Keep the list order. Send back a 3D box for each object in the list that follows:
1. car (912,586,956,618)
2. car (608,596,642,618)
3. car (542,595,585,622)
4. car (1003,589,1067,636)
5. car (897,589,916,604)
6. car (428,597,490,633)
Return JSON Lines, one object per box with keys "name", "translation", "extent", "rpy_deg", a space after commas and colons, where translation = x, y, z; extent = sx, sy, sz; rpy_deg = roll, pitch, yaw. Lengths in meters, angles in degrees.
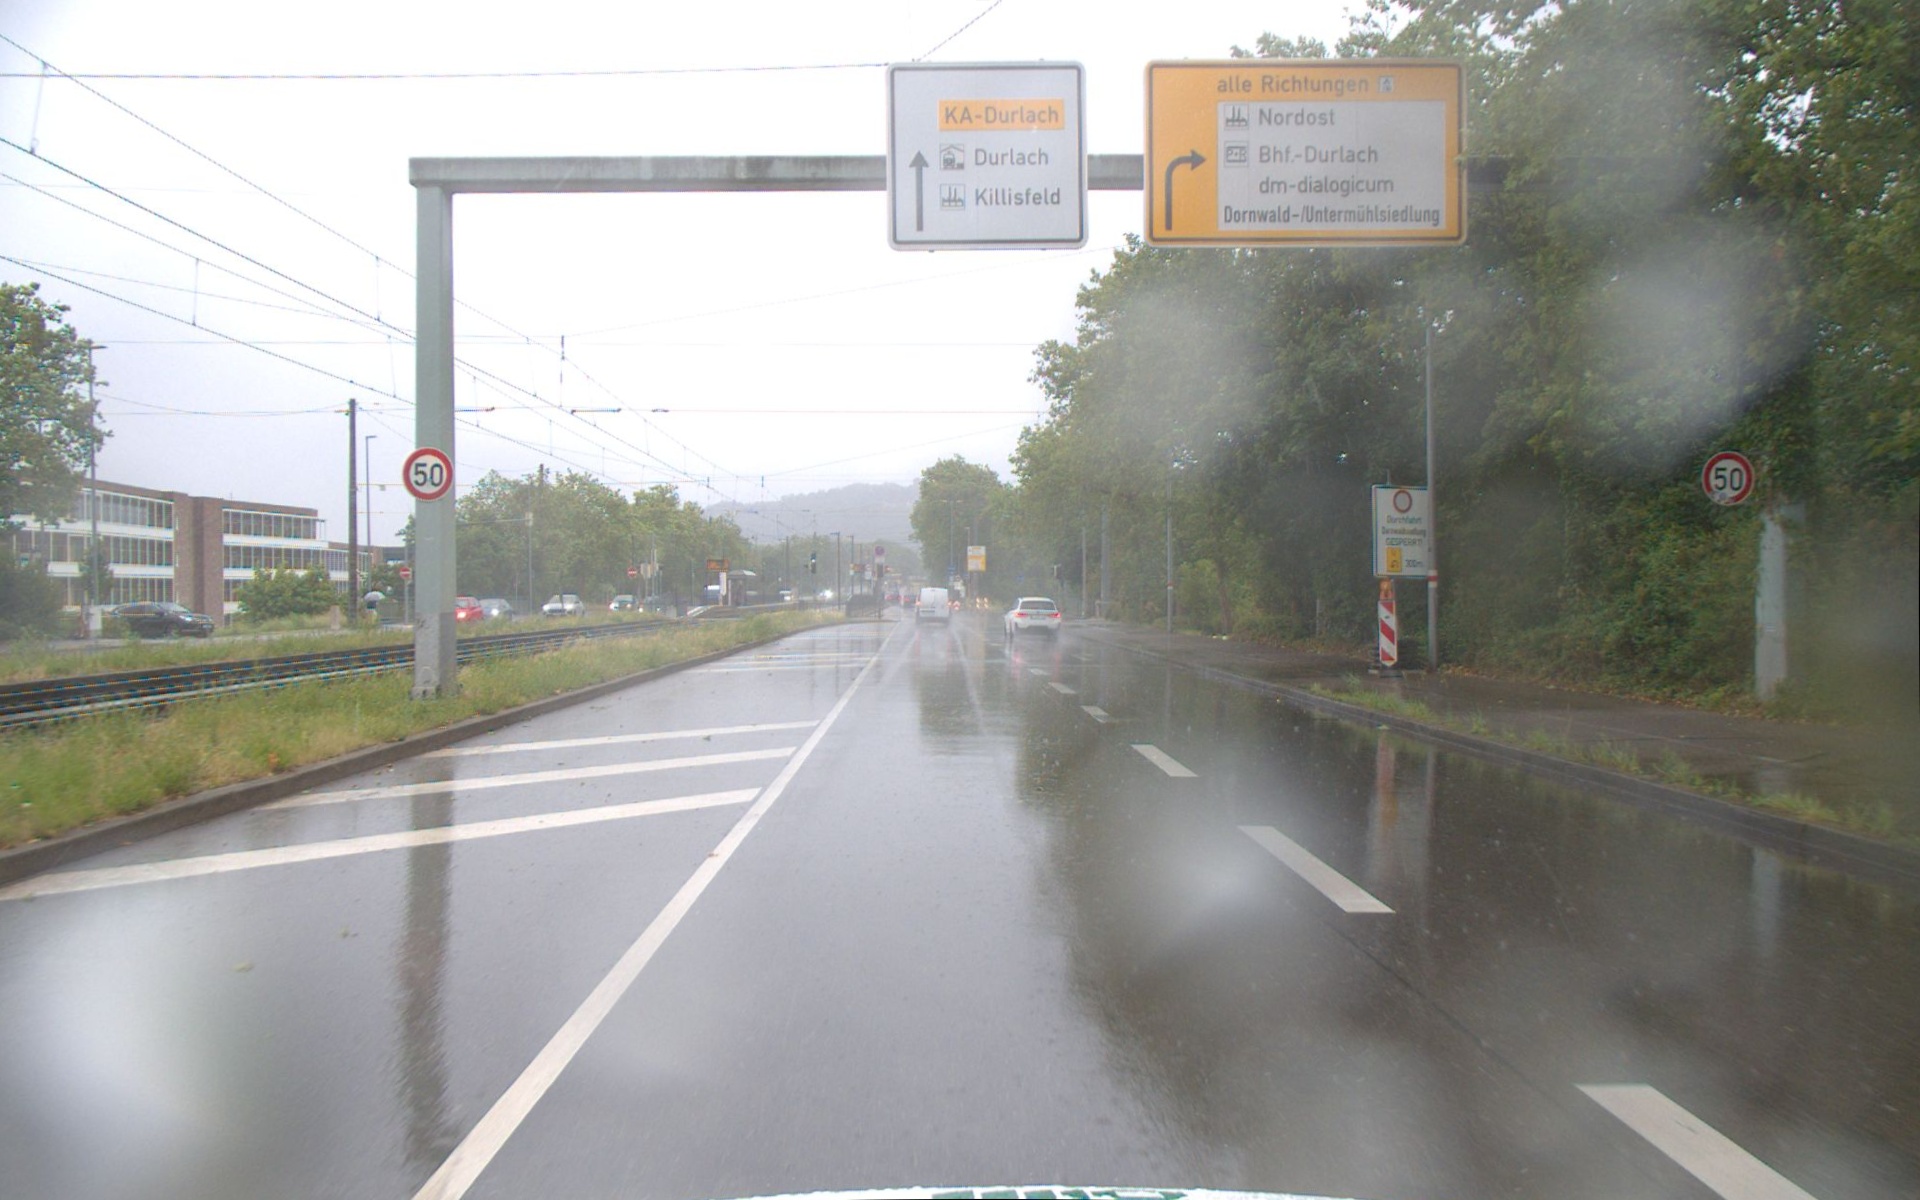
{"name": "car", "translation": [-1.247, 0.082, 79.124], "extent": [2.035, 1.445, 3.999], "rpy_deg": [-1, 0, -1]}
{"name": "car", "translation": [-24.075, 0.509, 119.001], "extent": [1.686, 1.520, 3.999], "rpy_deg": [0, 0, -2]}
{"name": "car", "translation": [-23.208, 0.459, 96.933], "extent": [1.686, 1.520, 3.999], "rpy_deg": [-1, 0, -2]}
{"name": "car", "translation": [2.588, 0.414, 58.043], "extent": [1.909, 1.563, 4.465], "rpy_deg": [0, 0, -2]}
{"name": "car", "translation": [-5.734, -0.411, 178.028], "extent": [1.953, 1.574, 3.999], "rpy_deg": [1, 0, -2]}
{"name": "car", "translation": [-22.552, 0.641, 74.568], "extent": [1.686, 1.520, 3.999], "rpy_deg": [-1, 0, -2]}
